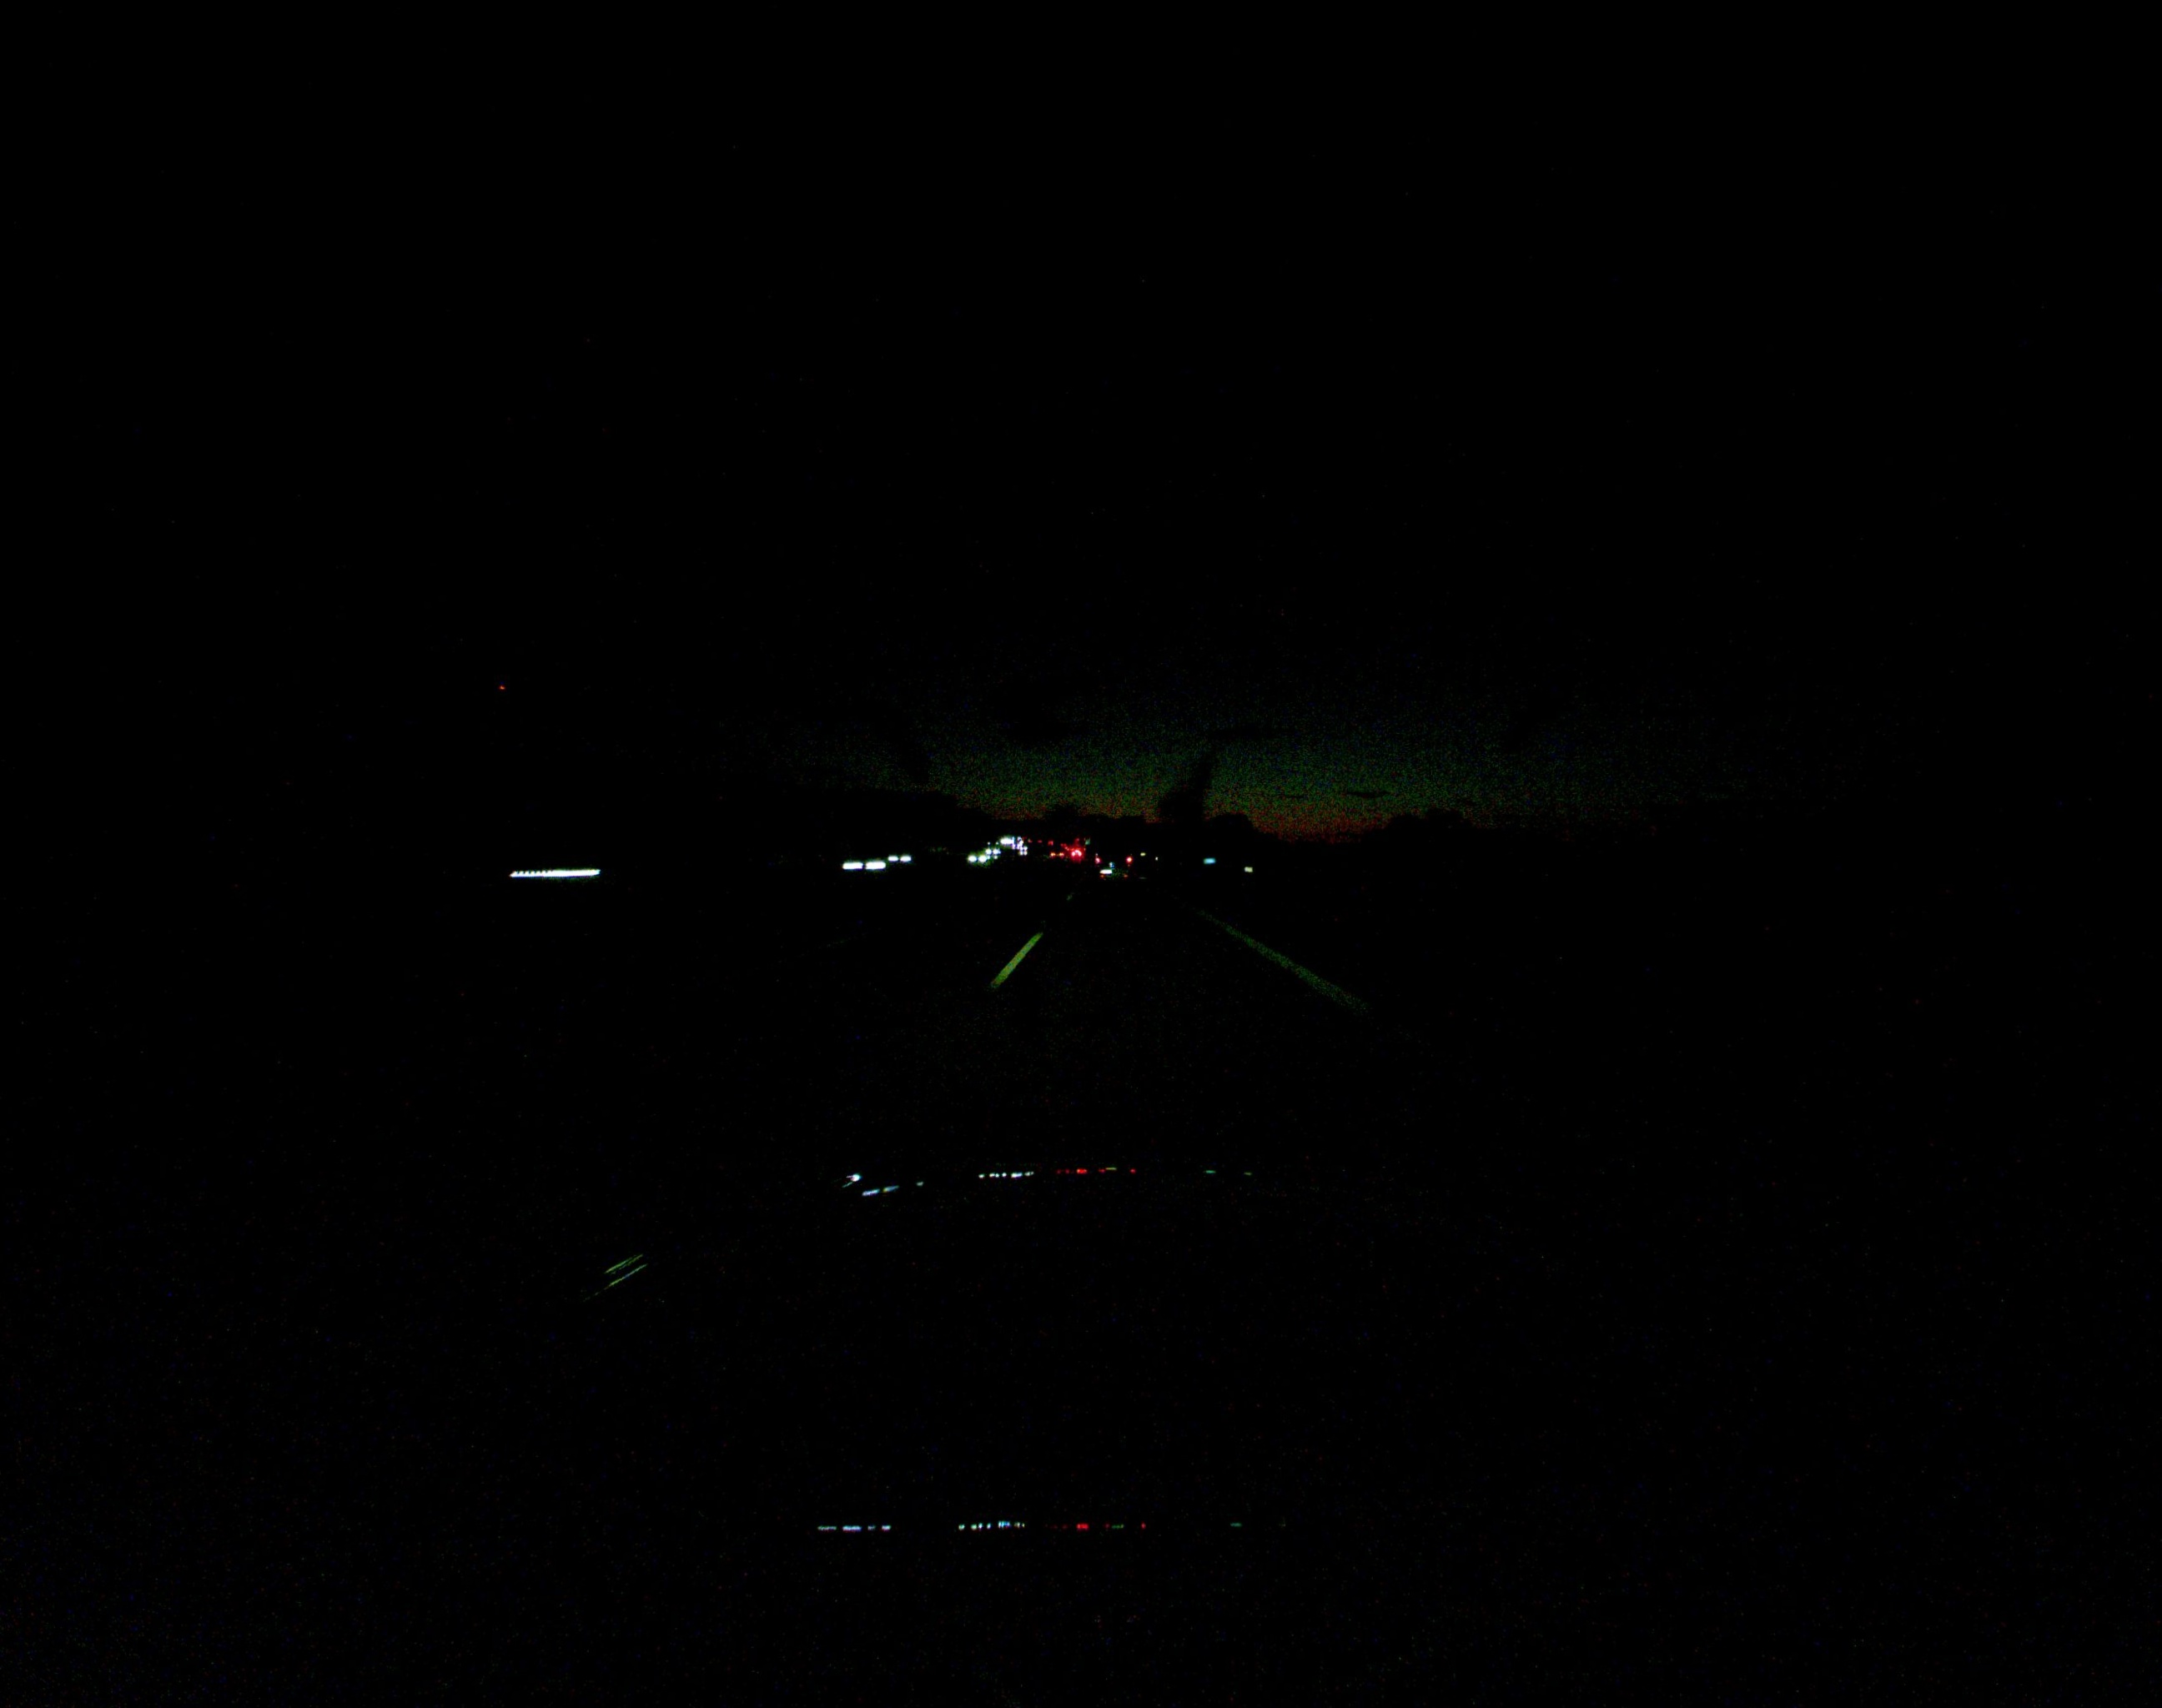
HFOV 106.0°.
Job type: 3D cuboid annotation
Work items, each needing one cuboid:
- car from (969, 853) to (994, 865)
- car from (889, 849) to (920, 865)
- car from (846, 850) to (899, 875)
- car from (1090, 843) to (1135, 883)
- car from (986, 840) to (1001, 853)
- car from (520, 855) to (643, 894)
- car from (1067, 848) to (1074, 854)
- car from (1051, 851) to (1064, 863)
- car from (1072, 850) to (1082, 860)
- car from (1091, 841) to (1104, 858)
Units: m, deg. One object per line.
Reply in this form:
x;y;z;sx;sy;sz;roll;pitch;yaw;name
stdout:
-13.239;0.673;108.199;2.550;1.555;5.110;0;0;1;car
-19.960;0.376;92.489;2.046;1.782;5.943;0;0;1;car
-14.014;0.555;55.107;2.111;1.555;5.110;0;0;1;car
1.672;0.427;44.841;2.110;2.000;5.660;-1;1;-2;car
-20.793;-1.863;193.616;2.642;3.085;8.218;0;1;1;car
-21.562;0.833;35.477;2.111;1.555;5.110;0;0;1;car
-3.040;-0.781;239.066;1.986;1.794;4.000;-1;-1;1;car
-3.652;0.446;126.094;1.987;1.816;3.998;-1;-1;-1;car
-0.756;0.205;161.618;1.987;1.794;3.999;-1;-1;0;car
2.716;-0.736;132.788;2.025;2.646;5.727;-1;1;1;car
